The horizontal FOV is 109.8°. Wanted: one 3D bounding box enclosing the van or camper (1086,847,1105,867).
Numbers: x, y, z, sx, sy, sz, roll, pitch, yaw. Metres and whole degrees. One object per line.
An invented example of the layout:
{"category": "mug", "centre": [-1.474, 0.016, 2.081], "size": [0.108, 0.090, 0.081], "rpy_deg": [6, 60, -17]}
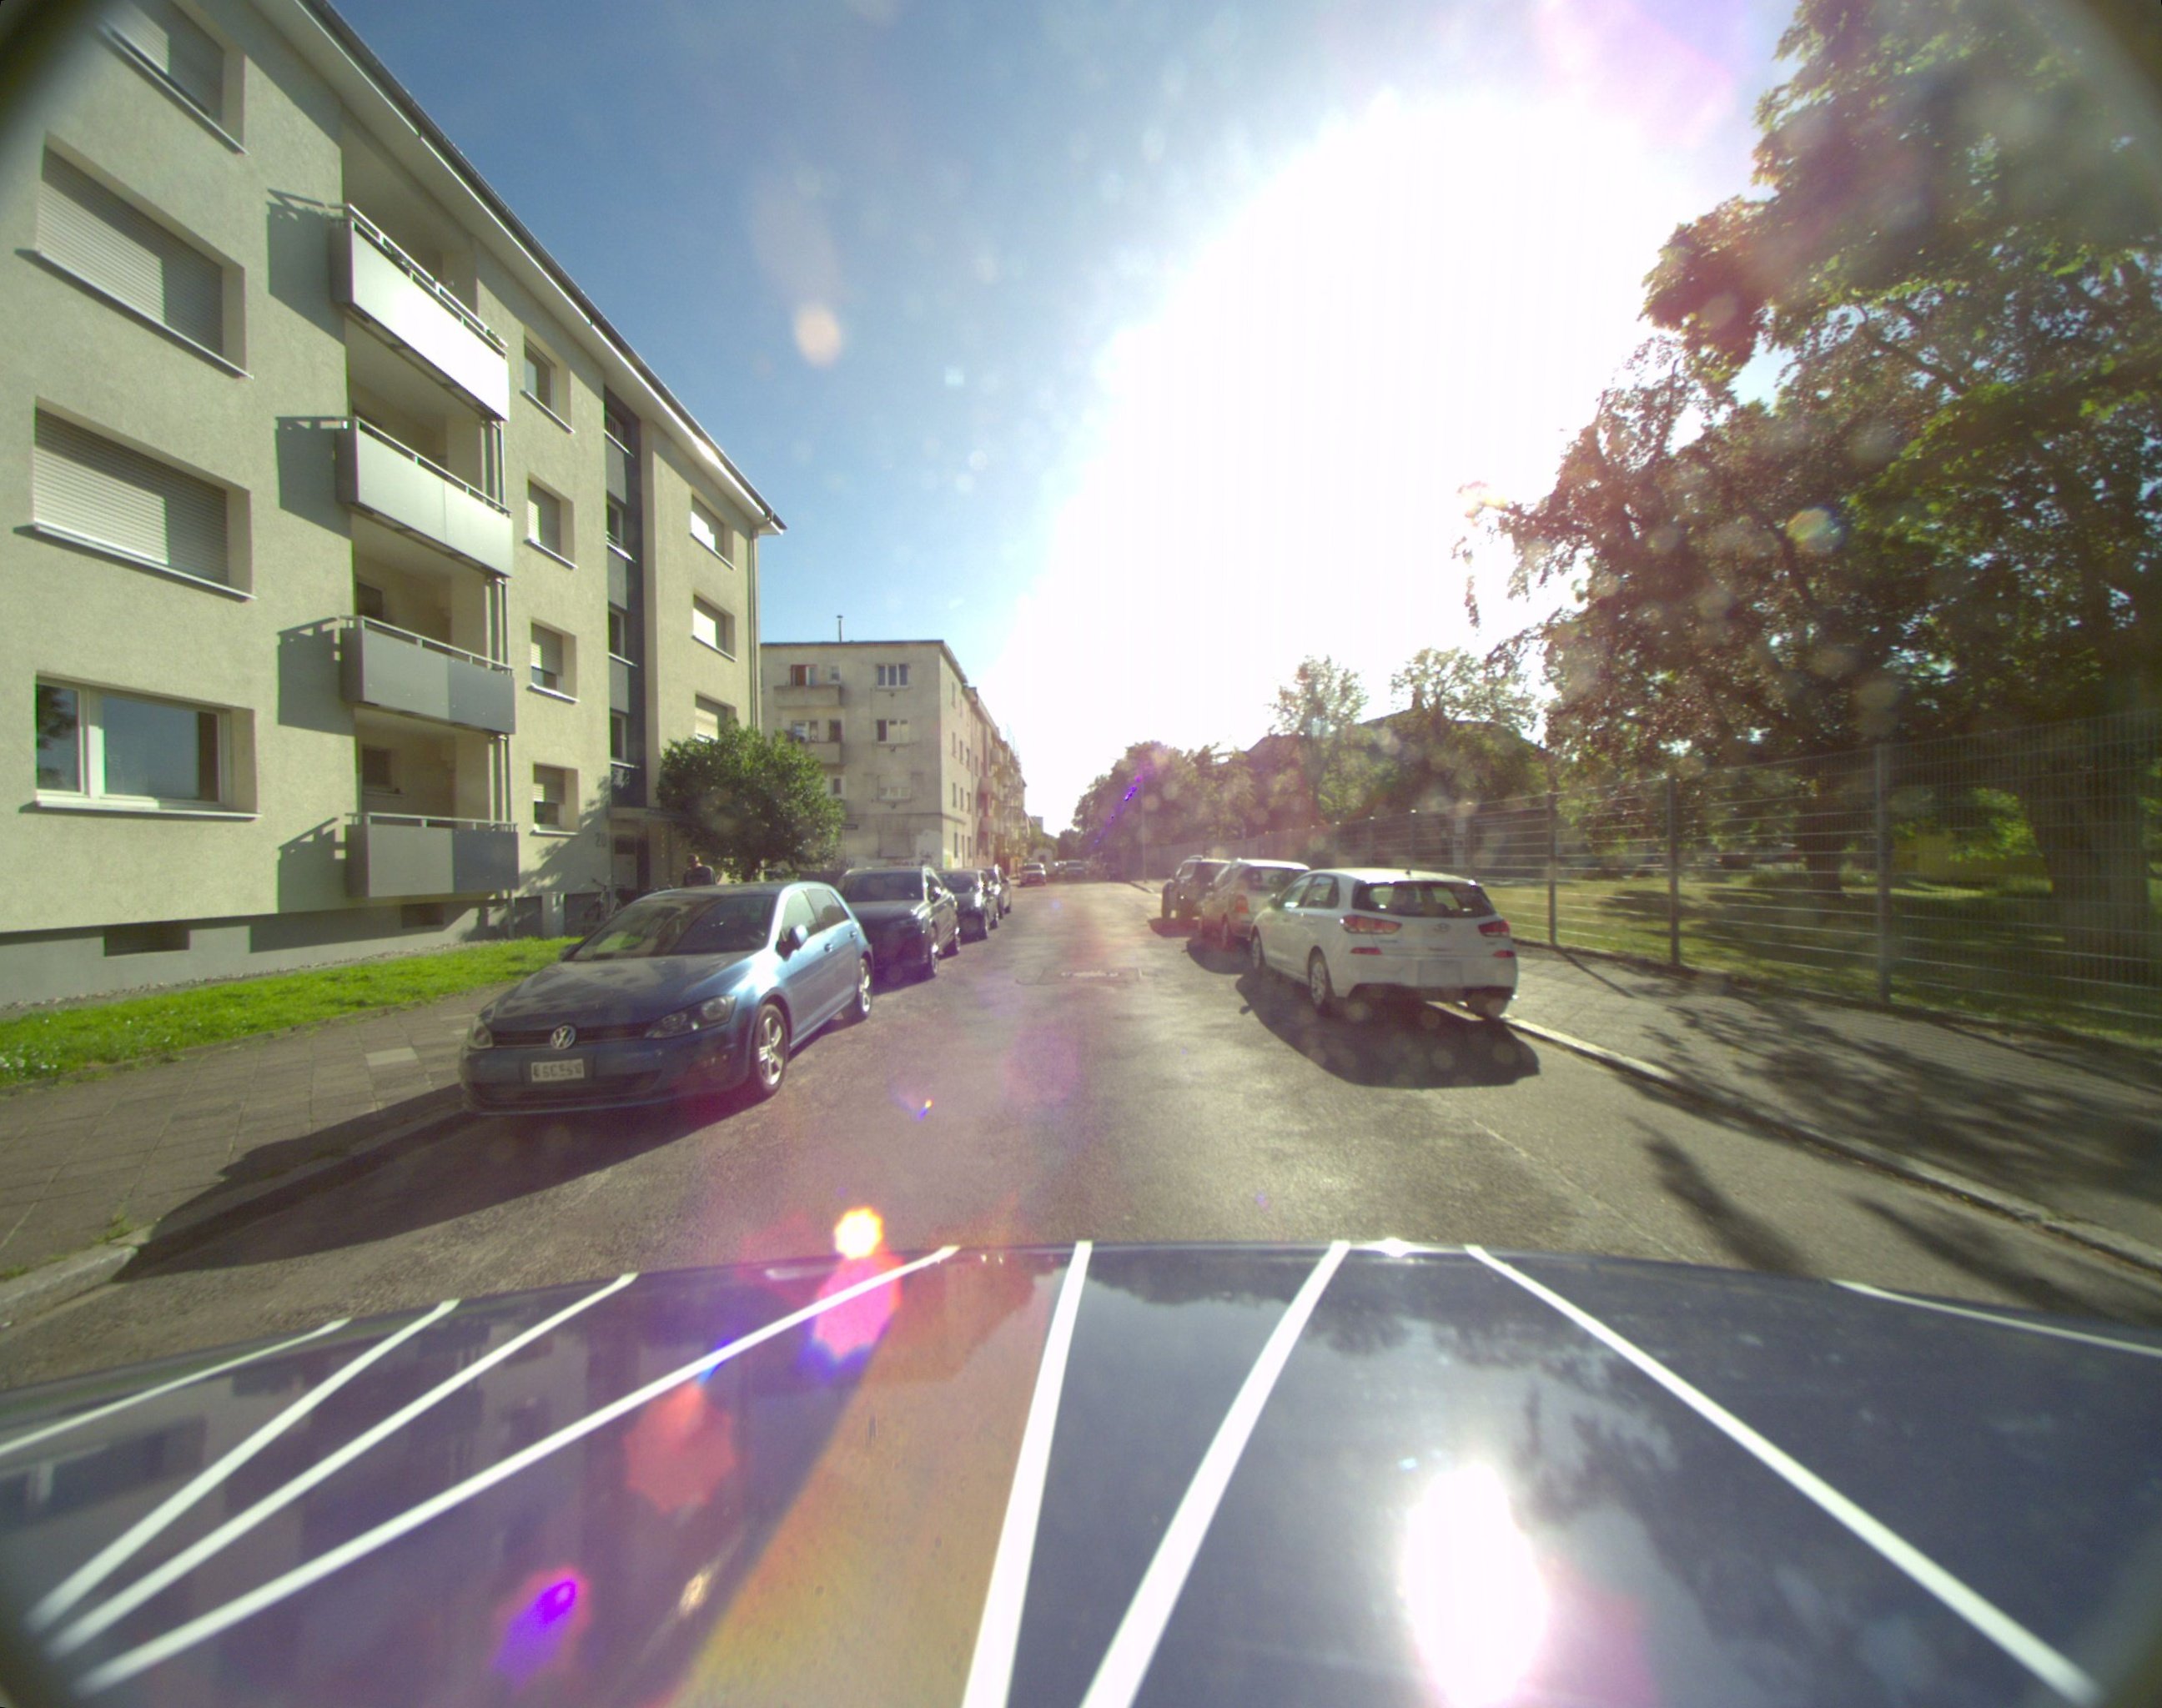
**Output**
{"category": "van or camper", "centre": [1.874, 0.319, 99.891], "size": [2.126, 2.484, 3.999], "rpy_deg": [-2, 1, -2]}

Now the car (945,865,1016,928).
{"category": "car", "centre": [-2.929, 1.198, 22.908], "size": [1.622, 1.539, 4.084], "rpy_deg": [-2, 1, -2]}

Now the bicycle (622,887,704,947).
{"category": "bicycle", "centre": [-8.372, 1.228, 15.321], "size": [0.486, 1.006, 2.283], "rpy_deg": [-1, 0, -3]}

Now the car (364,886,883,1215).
{"category": "car", "centre": [-2.972, 1.136, 6.125], "size": [1.757, 1.472, 4.079], "rpy_deg": [-3, 1, -2]}

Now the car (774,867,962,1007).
{"category": "car", "centre": [-2.988, 1.073, 11.626], "size": [1.757, 1.550, 4.254], "rpy_deg": [-3, 1, -2]}

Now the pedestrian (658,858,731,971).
{"category": "pedestrian", "centre": [-6.367, 0.967, 12.542], "size": [0.646, 1.761, 0.841], "rpy_deg": [-3, 1, 4]}

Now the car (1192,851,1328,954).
{"category": "car", "centre": [3.155, 0.776, 14.071], "size": [1.568, 1.634, 3.615], "rpy_deg": [1, 0, -1]}

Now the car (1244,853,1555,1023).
{"category": "car", "centre": [3.202, 0.727, 8.638], "size": [1.798, 1.436, 4.119], "rpy_deg": [0, 0, 0]}

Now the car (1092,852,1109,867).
{"category": "car", "centre": [2.220, 0.638, 88.127], "size": [1.652, 1.674, 3.999], "rpy_deg": [-2, 1, -2]}

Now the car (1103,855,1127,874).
{"category": "car", "centre": [2.787, 0.841, 63.394], "size": [1.652, 1.408, 3.999], "rpy_deg": [-3, 1, -2]}

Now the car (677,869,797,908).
{"category": "car", "centre": [-14.003, 1.409, 31.114], "size": [4.046, 1.406, 1.804], "rpy_deg": [-2, -2, -1]}

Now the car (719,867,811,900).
{"category": "car", "centre": [-15.280, 1.421, 36.863], "size": [3.718, 1.450, 1.692], "rpy_deg": [-2, -1, 0]}

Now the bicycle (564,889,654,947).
{"category": "bicycle", "centre": [-9.500, 1.251, 15.397], "size": [0.486, 0.955, 2.283], "rpy_deg": [-1, 0, -3]}

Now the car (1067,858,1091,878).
{"category": "car", "centre": [-0.219, 1.193, 67.409], "size": [1.862, 1.543, 3.998], "rpy_deg": [-3, 1, -2]}

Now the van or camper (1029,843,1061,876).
{"category": "van or camper", "centre": [-3.620, 0.526, 77.454], "size": [2.958, 3.161, 6.172], "rpy_deg": [-1, 0, -1]}

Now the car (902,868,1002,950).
{"category": "car", "centre": [-2.751, 1.126, 16.987], "size": [1.609, 1.476, 3.797], "rpy_deg": [-3, 1, -1]}

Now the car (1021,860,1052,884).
{"category": "car", "centre": [-3.189, 1.281, 54.891], "size": [2.070, 1.544, 3.999], "rpy_deg": [-3, 1, -2]}

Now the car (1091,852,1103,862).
{"category": "car", "centre": [2.918, 0.558, 140.670], "size": [1.999, 1.738, 3.999], "rpy_deg": [-2, 0, -1]}

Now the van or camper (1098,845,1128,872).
{"category": "van or camper", "centre": [2.842, 0.407, 69.291], "size": [2.212, 2.268, 5.309], "rpy_deg": [-3, 1, -2]}

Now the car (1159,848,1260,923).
{"category": "car", "centre": [3.118, 0.699, 19.240], "size": [1.717, 1.654, 4.164], "rpy_deg": [1, 0, -1]}

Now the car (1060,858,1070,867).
{"category": "car", "centre": [-2.924, 1.597, 137.587], "size": [1.652, 1.451, 3.999], "rpy_deg": [-2, 1, -2]}
